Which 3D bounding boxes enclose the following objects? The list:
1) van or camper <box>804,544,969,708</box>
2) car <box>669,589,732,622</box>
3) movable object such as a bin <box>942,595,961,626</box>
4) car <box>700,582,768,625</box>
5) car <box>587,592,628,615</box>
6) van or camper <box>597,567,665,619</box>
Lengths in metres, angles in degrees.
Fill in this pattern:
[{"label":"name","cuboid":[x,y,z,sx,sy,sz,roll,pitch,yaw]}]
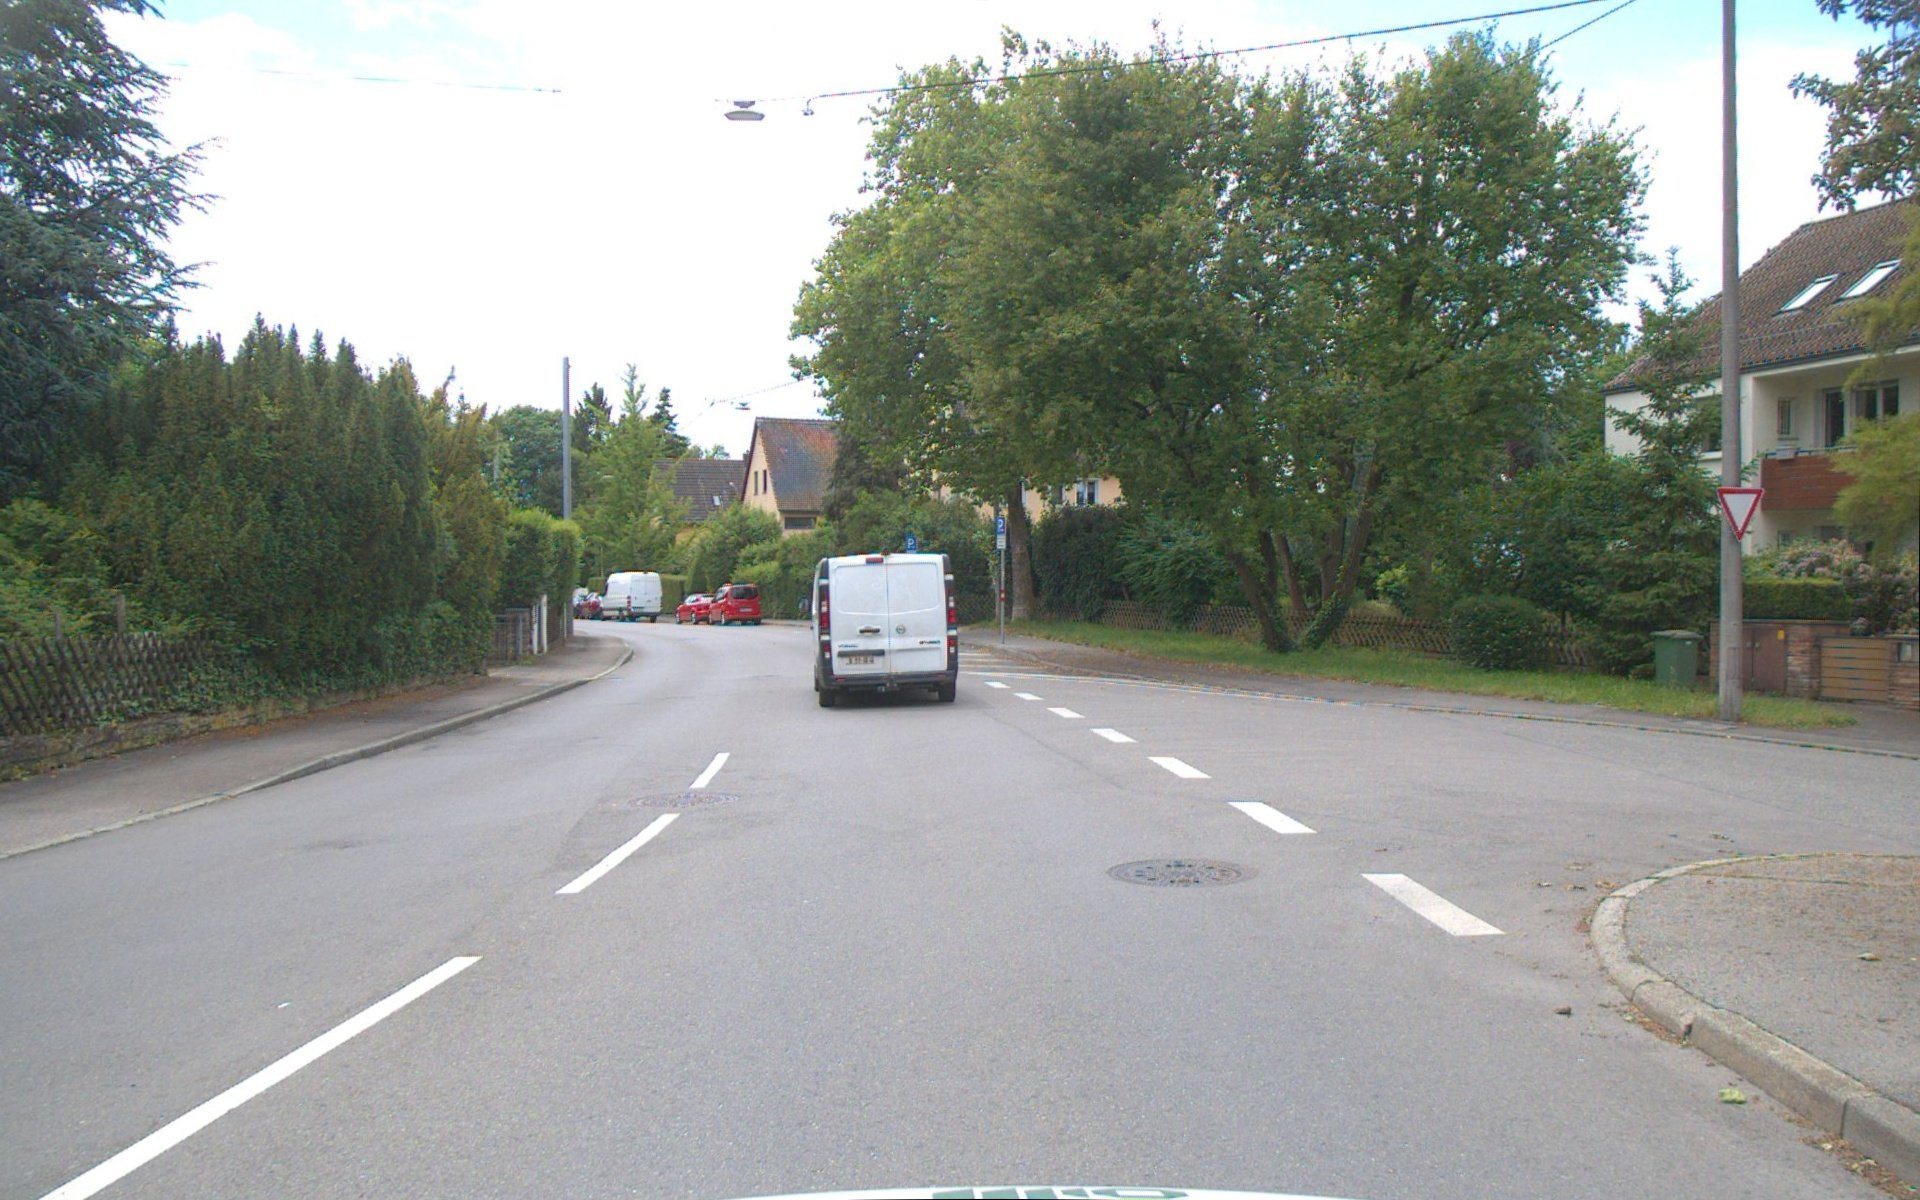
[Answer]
[{"label":"van or camper","cuboid":[-1.150,0.252,23.277,1.888,2.048,4.821,0,2,-8]},{"label":"car","cuboid":[-12.279,0.253,78.121,1.692,1.493,4.230,-1,1,-27]},{"label":"movable object such as a bin","cuboid":[-0.307,0.371,58.029,0.593,1.088,0.567,0,0,-10]},{"label":"car","cuboid":[-10.097,0.138,73.598,1.737,1.828,4.913,-1,1,-23]},{"label":"car","cuboid":[-20.767,0.196,97.330,1.512,1.327,3.998,-1,1,-26]},{"label":"van or camper","cuboid":[-18.101,-0.423,90.763,2.042,2.721,6.274,-1,1,-26]}]
